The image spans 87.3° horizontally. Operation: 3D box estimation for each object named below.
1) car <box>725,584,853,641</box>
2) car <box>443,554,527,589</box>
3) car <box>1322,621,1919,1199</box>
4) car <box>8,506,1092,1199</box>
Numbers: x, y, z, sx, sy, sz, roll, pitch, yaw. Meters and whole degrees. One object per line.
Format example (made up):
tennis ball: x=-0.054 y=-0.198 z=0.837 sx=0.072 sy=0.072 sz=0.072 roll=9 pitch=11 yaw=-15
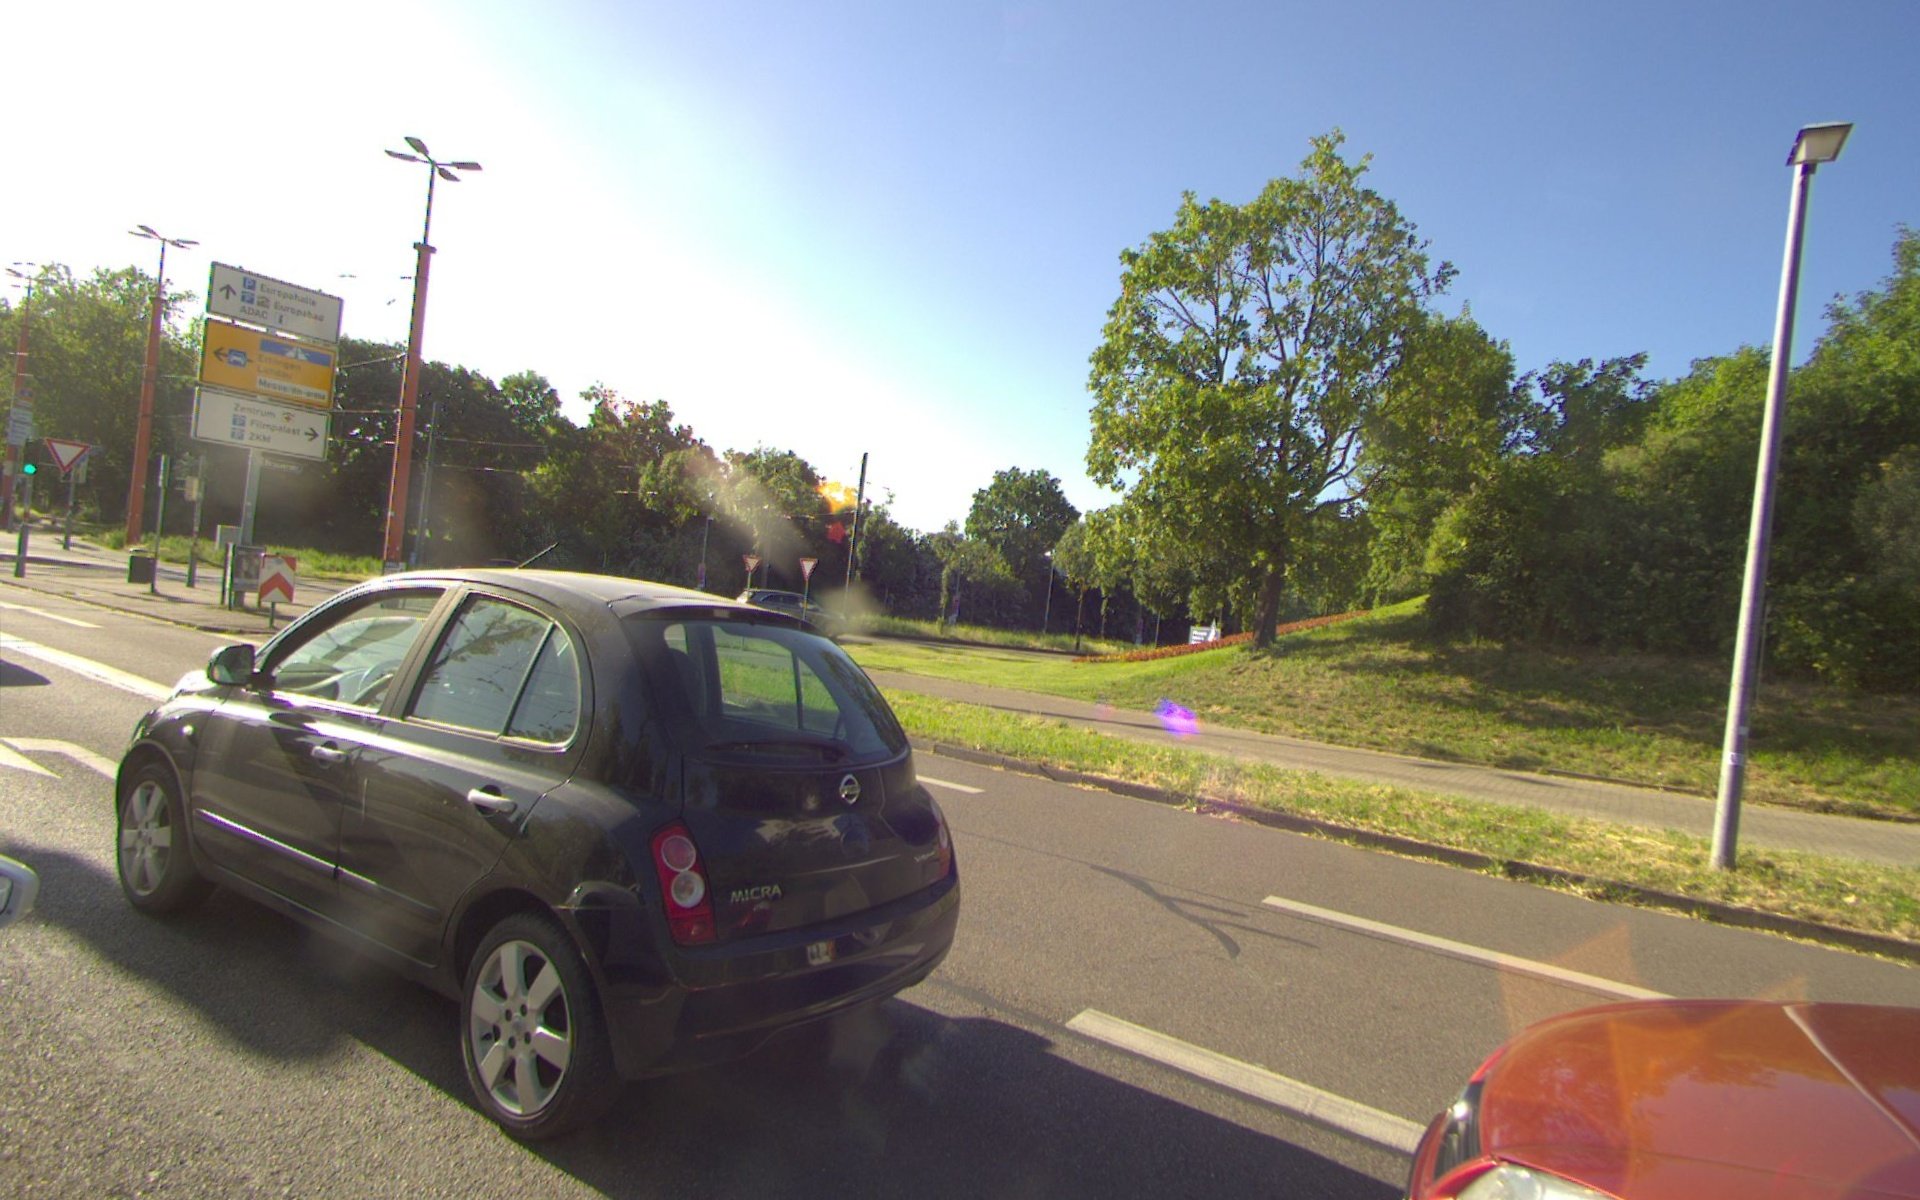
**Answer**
car: x=-6.987 y=0.513 z=41.161 sx=4.641 sy=1.724 sz=1.985 roll=7 pitch=-1 yaw=-29
car: x=-28.145 y=-1.684 z=59.642 sx=4.244 sy=1.513 sz=1.984 roll=7 pitch=0 yaw=-31
car: x=2.936 y=1.108 z=0.922 sx=4.651 sy=1.577 sz=1.769 roll=7 pitch=-1 yaw=34
car: x=-1.959 y=0.604 z=4.190 sx=4.546 sy=1.500 sz=1.737 roll=7 pitch=-1 yaw=32
